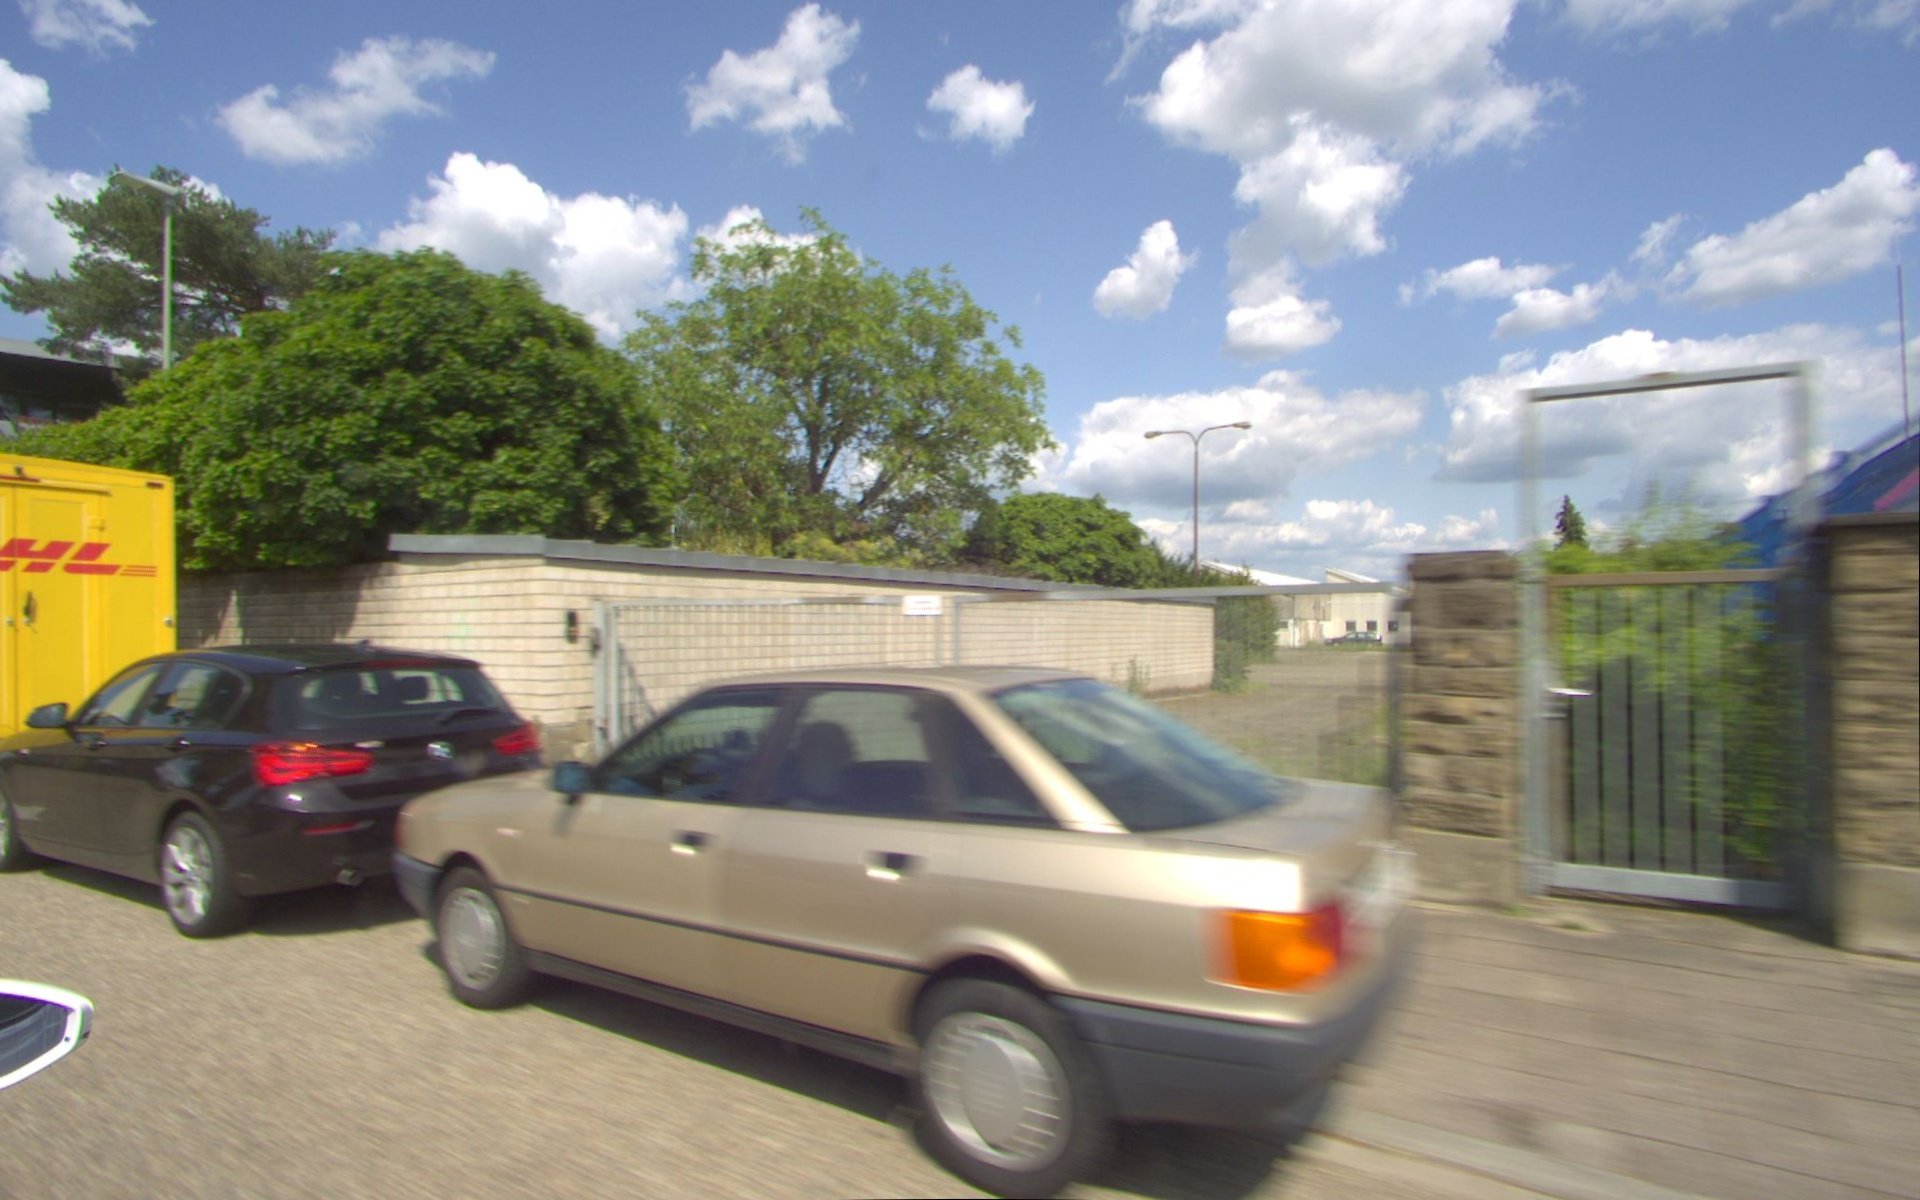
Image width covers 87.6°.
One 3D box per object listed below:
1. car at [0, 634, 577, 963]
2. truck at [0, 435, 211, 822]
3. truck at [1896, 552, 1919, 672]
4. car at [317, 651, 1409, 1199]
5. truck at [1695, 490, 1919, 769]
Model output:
[{"bbox_3d":[-4.506,0.954,6.307,4.220,1.459,1.660,-1,-1,30],"label":"car"},{"bbox_3d":[-10.359,0.284,9.658,7.083,2.977,2.472,-1,-3,31],"label":"truck"},{"bbox_3d":[23.349,0.235,21.862,2.775,2.882,7.241,-1,-2,31],"label":"truck"},{"bbox_3d":[-0.643,0.938,4.101,4.359,1.404,1.649,-1,-3,32],"label":"car"},{"bbox_3d":[10.846,0.345,12.085,2.540,2.557,7.066,-1,-2,31],"label":"truck"}]
